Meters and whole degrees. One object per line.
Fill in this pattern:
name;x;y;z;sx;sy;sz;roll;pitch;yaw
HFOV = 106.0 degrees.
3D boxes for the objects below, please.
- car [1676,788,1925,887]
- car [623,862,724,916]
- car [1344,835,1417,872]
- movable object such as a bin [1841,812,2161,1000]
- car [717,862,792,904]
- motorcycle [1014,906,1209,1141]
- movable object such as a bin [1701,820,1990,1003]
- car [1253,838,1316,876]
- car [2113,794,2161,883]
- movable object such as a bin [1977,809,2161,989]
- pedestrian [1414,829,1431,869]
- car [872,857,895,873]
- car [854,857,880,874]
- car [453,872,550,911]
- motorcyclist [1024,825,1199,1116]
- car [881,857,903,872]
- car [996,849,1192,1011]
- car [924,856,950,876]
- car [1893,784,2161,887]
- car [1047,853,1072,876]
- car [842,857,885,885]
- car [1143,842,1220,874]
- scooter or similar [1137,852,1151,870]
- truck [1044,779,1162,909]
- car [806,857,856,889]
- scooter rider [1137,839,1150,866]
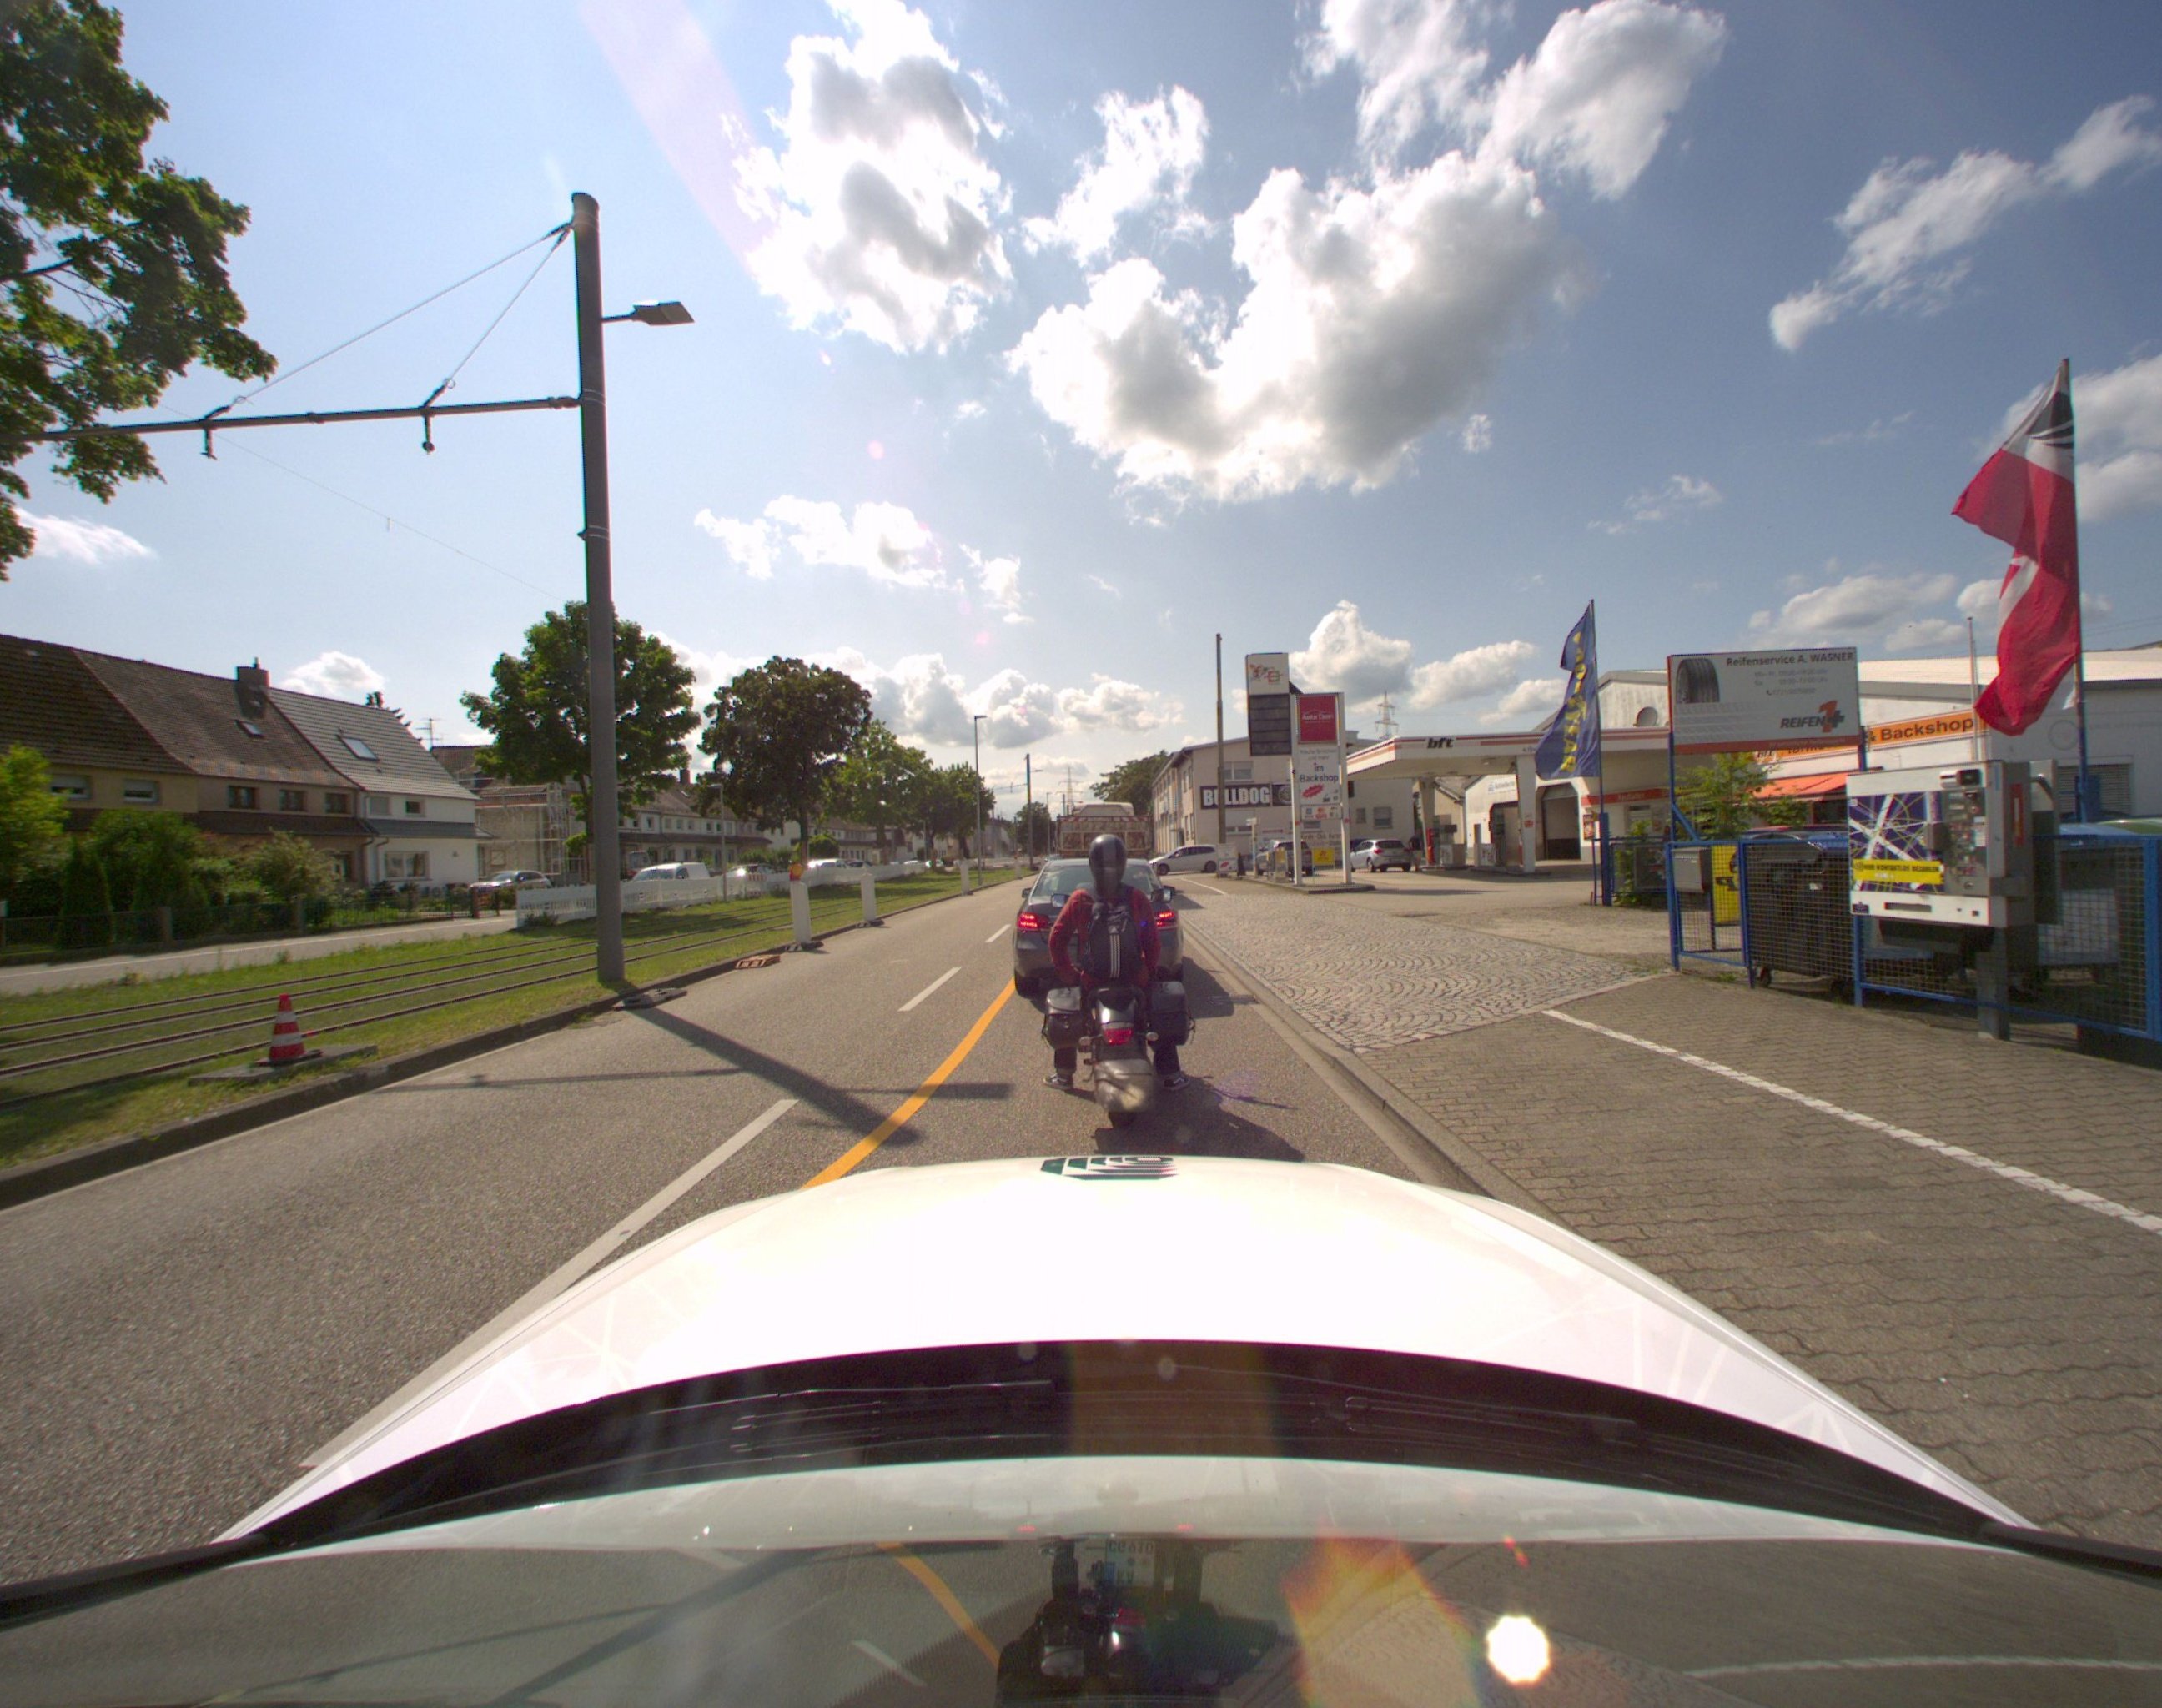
car;16.599;-0.372;18.963;3.972;2.013;2.001;-2;0;1
car;-15.421;1.278;31.057;1.692;1.817;3.862;-2;0;2
car;13.535;-0.024;37.070;1.826;1.479;4.009;-3;0;1
movable object such as a bin;8.101;0.415;7.281;1.222;1.454;1.455;-2;0;0
car;-15.329;1.325;38.488;1.692;1.739;4.056;-2;0;2
motorcycle;0.193;0.931;5.314;0.972;1.013;2.433;-1;0;2
movable object such as a bin;6.822;0.469;7.405;1.222;1.454;1.455;-2;0;0
car;9.065;0.121;36.578;1.826;1.536;4.009;-3;0;1
car;26.349;-0.435;18.187;3.972;2.013;2.001;-2;0;1
movable object such as a bin;9.447;0.334;7.192;1.425;1.454;1.455;-2;0;0
pedestrian;14.838;-0.210;35.390;0.628;1.683;0.626;-2;0;23
car;-24.054;1.336;99.342;1.692;1.739;4.064;-2;0;2
car;-24.469;1.302;93.139;1.692;1.739;4.064;-2;0;2
car;-27.482;1.731;38.793;1.692;1.593;3.862;-2;0;2
motorcyclist;0.192;0.653;5.197;0.966;1.633;1.215;-1;0;1
car;-24.383;1.344;105.365;1.692;1.739;4.064;-2;0;2
car;0.157;0.727;9.860;1.826;1.479;4.009;-3;0;1
car;-14.146;1.150;80.040;1.692;1.739;3.862;-2;0;2
car;21.246;-0.402;18.271;3.972;2.013;2.001;-2;0;1
car;-1.598;0.755;61.621;1.674;1.624;4.120;-2;0;1
car;-14.871;1.140;55.759;1.692;1.739;3.862;-2;0;2
car;5.762;0.227;47.050;4.101;1.624;1.682;-3;0;-7
scooter or similar;4.205;0.435;54.353;0.792;1.144;1.520;-2;0;2
truck;0.639;-0.282;25.605;2.960;3.304;8.407;-2;0;1
car;-15.106;1.112;49.393;1.692;1.739;3.862;-2;0;2
scooter rider;4.181;-0.099;54.345;0.792;1.818;0.508;-2;0;1
